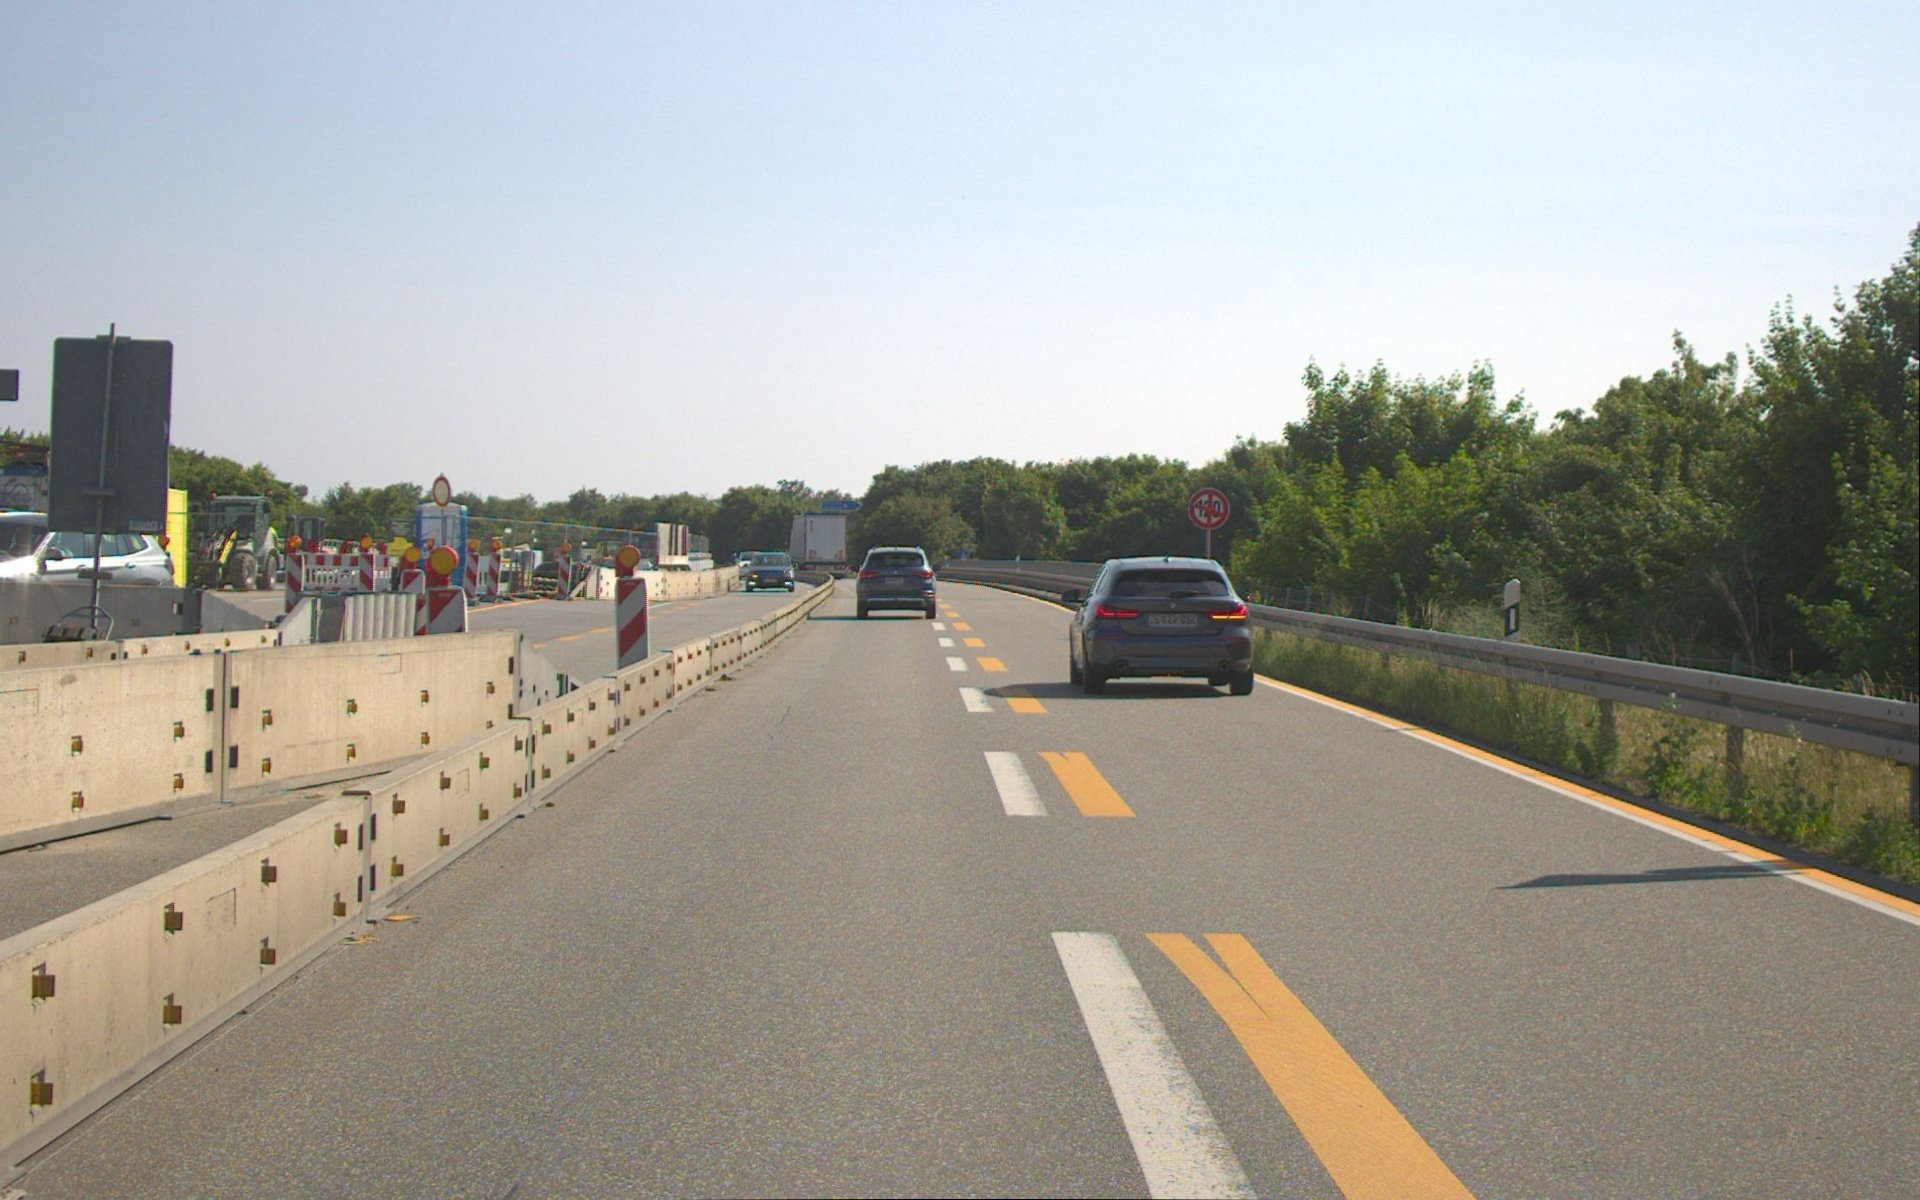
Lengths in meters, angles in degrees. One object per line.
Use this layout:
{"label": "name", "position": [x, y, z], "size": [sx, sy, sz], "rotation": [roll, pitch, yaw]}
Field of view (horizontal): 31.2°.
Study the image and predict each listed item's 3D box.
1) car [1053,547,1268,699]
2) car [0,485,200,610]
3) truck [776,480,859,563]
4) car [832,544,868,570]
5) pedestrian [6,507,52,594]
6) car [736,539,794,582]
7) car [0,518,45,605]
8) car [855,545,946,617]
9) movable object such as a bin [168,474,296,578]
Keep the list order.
{"label": "car", "position": [2.109, 0.202, 37.205], "size": [1.920, 1.488, 4.001], "rotation": [2, 1, -2]}
{"label": "car", "position": [-12.585, -0.713, 46.198], "size": [1.996, 1.616, 4.841], "rotation": [2, 1, 26]}
{"label": "truck", "position": [-8.960, -4.872, 214.395], "size": [3.760, 4.894, 14.140], "rotation": [1, 1, -8]}
{"label": "car", "position": [-7.563, -2.970, 235.164], "size": [1.993, 1.682, 4.001], "rotation": [1, 1, -8]}
{"label": "pedestrian", "position": [-19.154, -1.014, 70.735], "size": [0.722, 1.756, 0.720], "rotation": [2, 1, -2]}
{"label": "car", "position": [-7.167, -1.461, 126.658], "size": [1.859, 1.468, 4.685], "rotation": [2, 1, 0]}
{"label": "car", "position": [-19.427, -0.799, 67.988], "size": [1.687, 1.680, 4.459], "rotation": [2, 1, -4]}
{"label": "car", "position": [-1.331, -0.459, 77.981], "size": [1.993, 1.561, 4.000], "rotation": [0, 1, 0]}
{"label": "movable object such as a bin", "position": [-19.549, -1.984, 92.572], "size": [2.031, 2.706, 5.107], "rotation": [1, 1, 4]}
